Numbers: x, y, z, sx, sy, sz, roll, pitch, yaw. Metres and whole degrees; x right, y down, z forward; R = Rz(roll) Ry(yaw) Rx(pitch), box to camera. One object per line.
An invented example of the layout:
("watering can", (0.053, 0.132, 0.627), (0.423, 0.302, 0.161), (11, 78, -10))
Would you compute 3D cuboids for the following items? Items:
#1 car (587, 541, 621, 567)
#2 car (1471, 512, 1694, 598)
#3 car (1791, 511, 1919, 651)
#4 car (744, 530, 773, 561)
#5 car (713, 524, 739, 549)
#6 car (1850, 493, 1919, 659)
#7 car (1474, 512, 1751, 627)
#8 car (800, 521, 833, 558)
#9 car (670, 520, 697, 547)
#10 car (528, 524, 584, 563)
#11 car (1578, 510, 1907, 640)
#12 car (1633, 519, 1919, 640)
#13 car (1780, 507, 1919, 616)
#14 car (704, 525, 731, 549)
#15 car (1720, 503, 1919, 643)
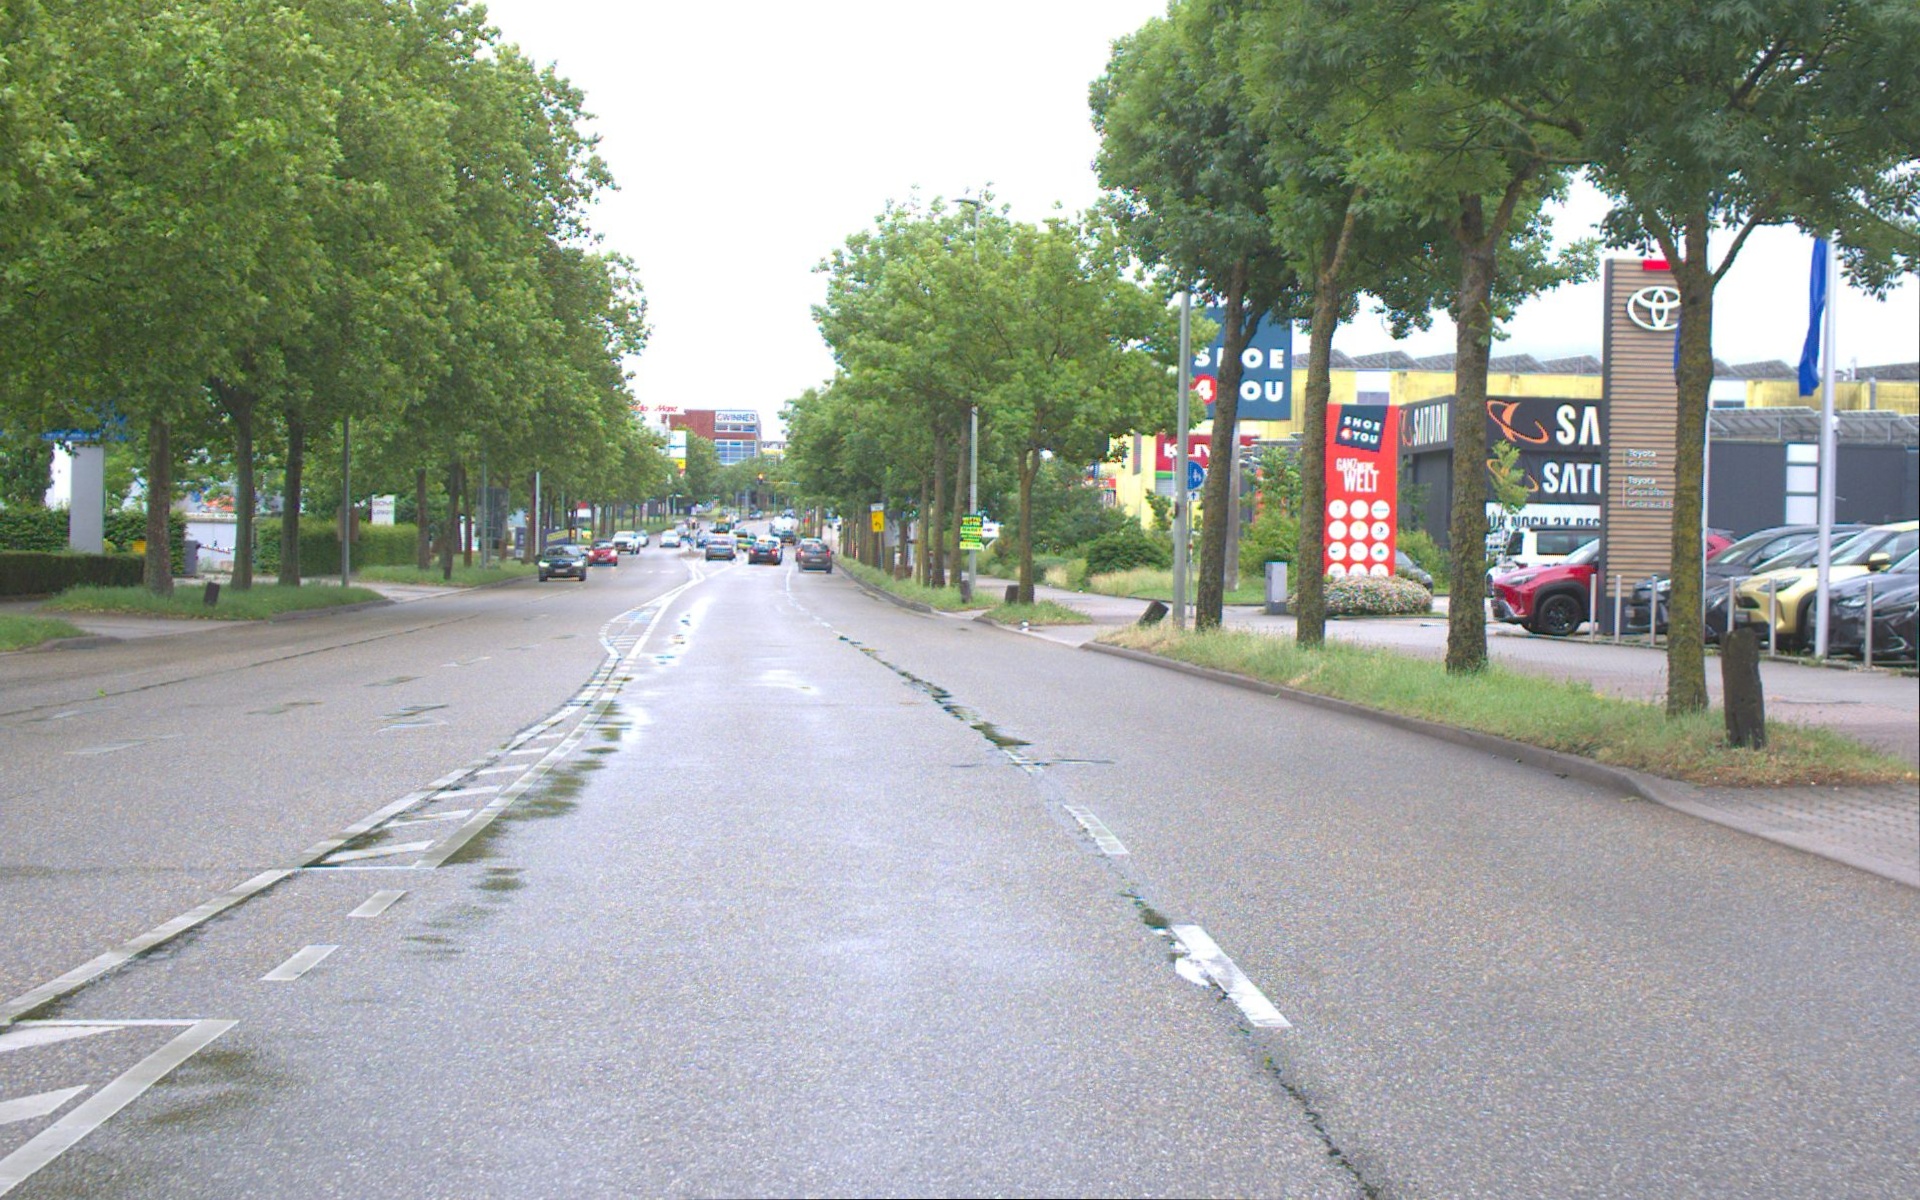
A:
("car", (-20.603, -2.671, 199.093), (1.726, 1.512, 3.822), (0, 1, -3))
("car", (14.773, -1.060, 81.687), (4.820, 2.007, 1.991), (0, 0, -12))
("car", (11.928, -0.297, 40.082), (3.987, 1.542, 1.711), (-3, 1, 0))
("car", (-13.060, -3.543, 222.817), (1.745, 2.007, 4.000), (0, 1, -2))
("car", (-17.710, -4.795, 260.138), (1.890, 1.870, 4.124), (0, 1, -3))
("car", (12.007, -0.280, 37.773), (3.987, 1.780, 1.812), (0, 1, 0))
("car", (10.026, -0.482, 53.025), (3.841, 1.598, 1.795), (-2, 1, -2))
("car", (-7.812, -3.297, 186.859), (1.745, 2.007, 4.000), (0, 1, -2))
("car", (-20.784, -4.972, 258.406), (1.993, 2.007, 4.001), (0, 1, -4))
("car", (-15.468, -2.161, 131.777), (1.804, 1.458, 3.846), (-1, 1, -2))
("car", (10.607, -0.357, 46.754), (3.986, 1.641, 1.845), (-1, 1, -2))
("car", (10.965, -0.277, 44.796), (3.986, 1.533, 1.800), (0, 1, -2))
("car", (14.903, -0.622, 52.950), (4.109, 1.616, 1.880), (-1, 1, 2))
("car", (-17.307, -4.465, 245.470), (1.745, 1.695, 4.000), (0, 1, -2))
("car", (11.563, -0.389, 42.482), (3.838, 1.560, 1.667), (-3, 1, -5))
